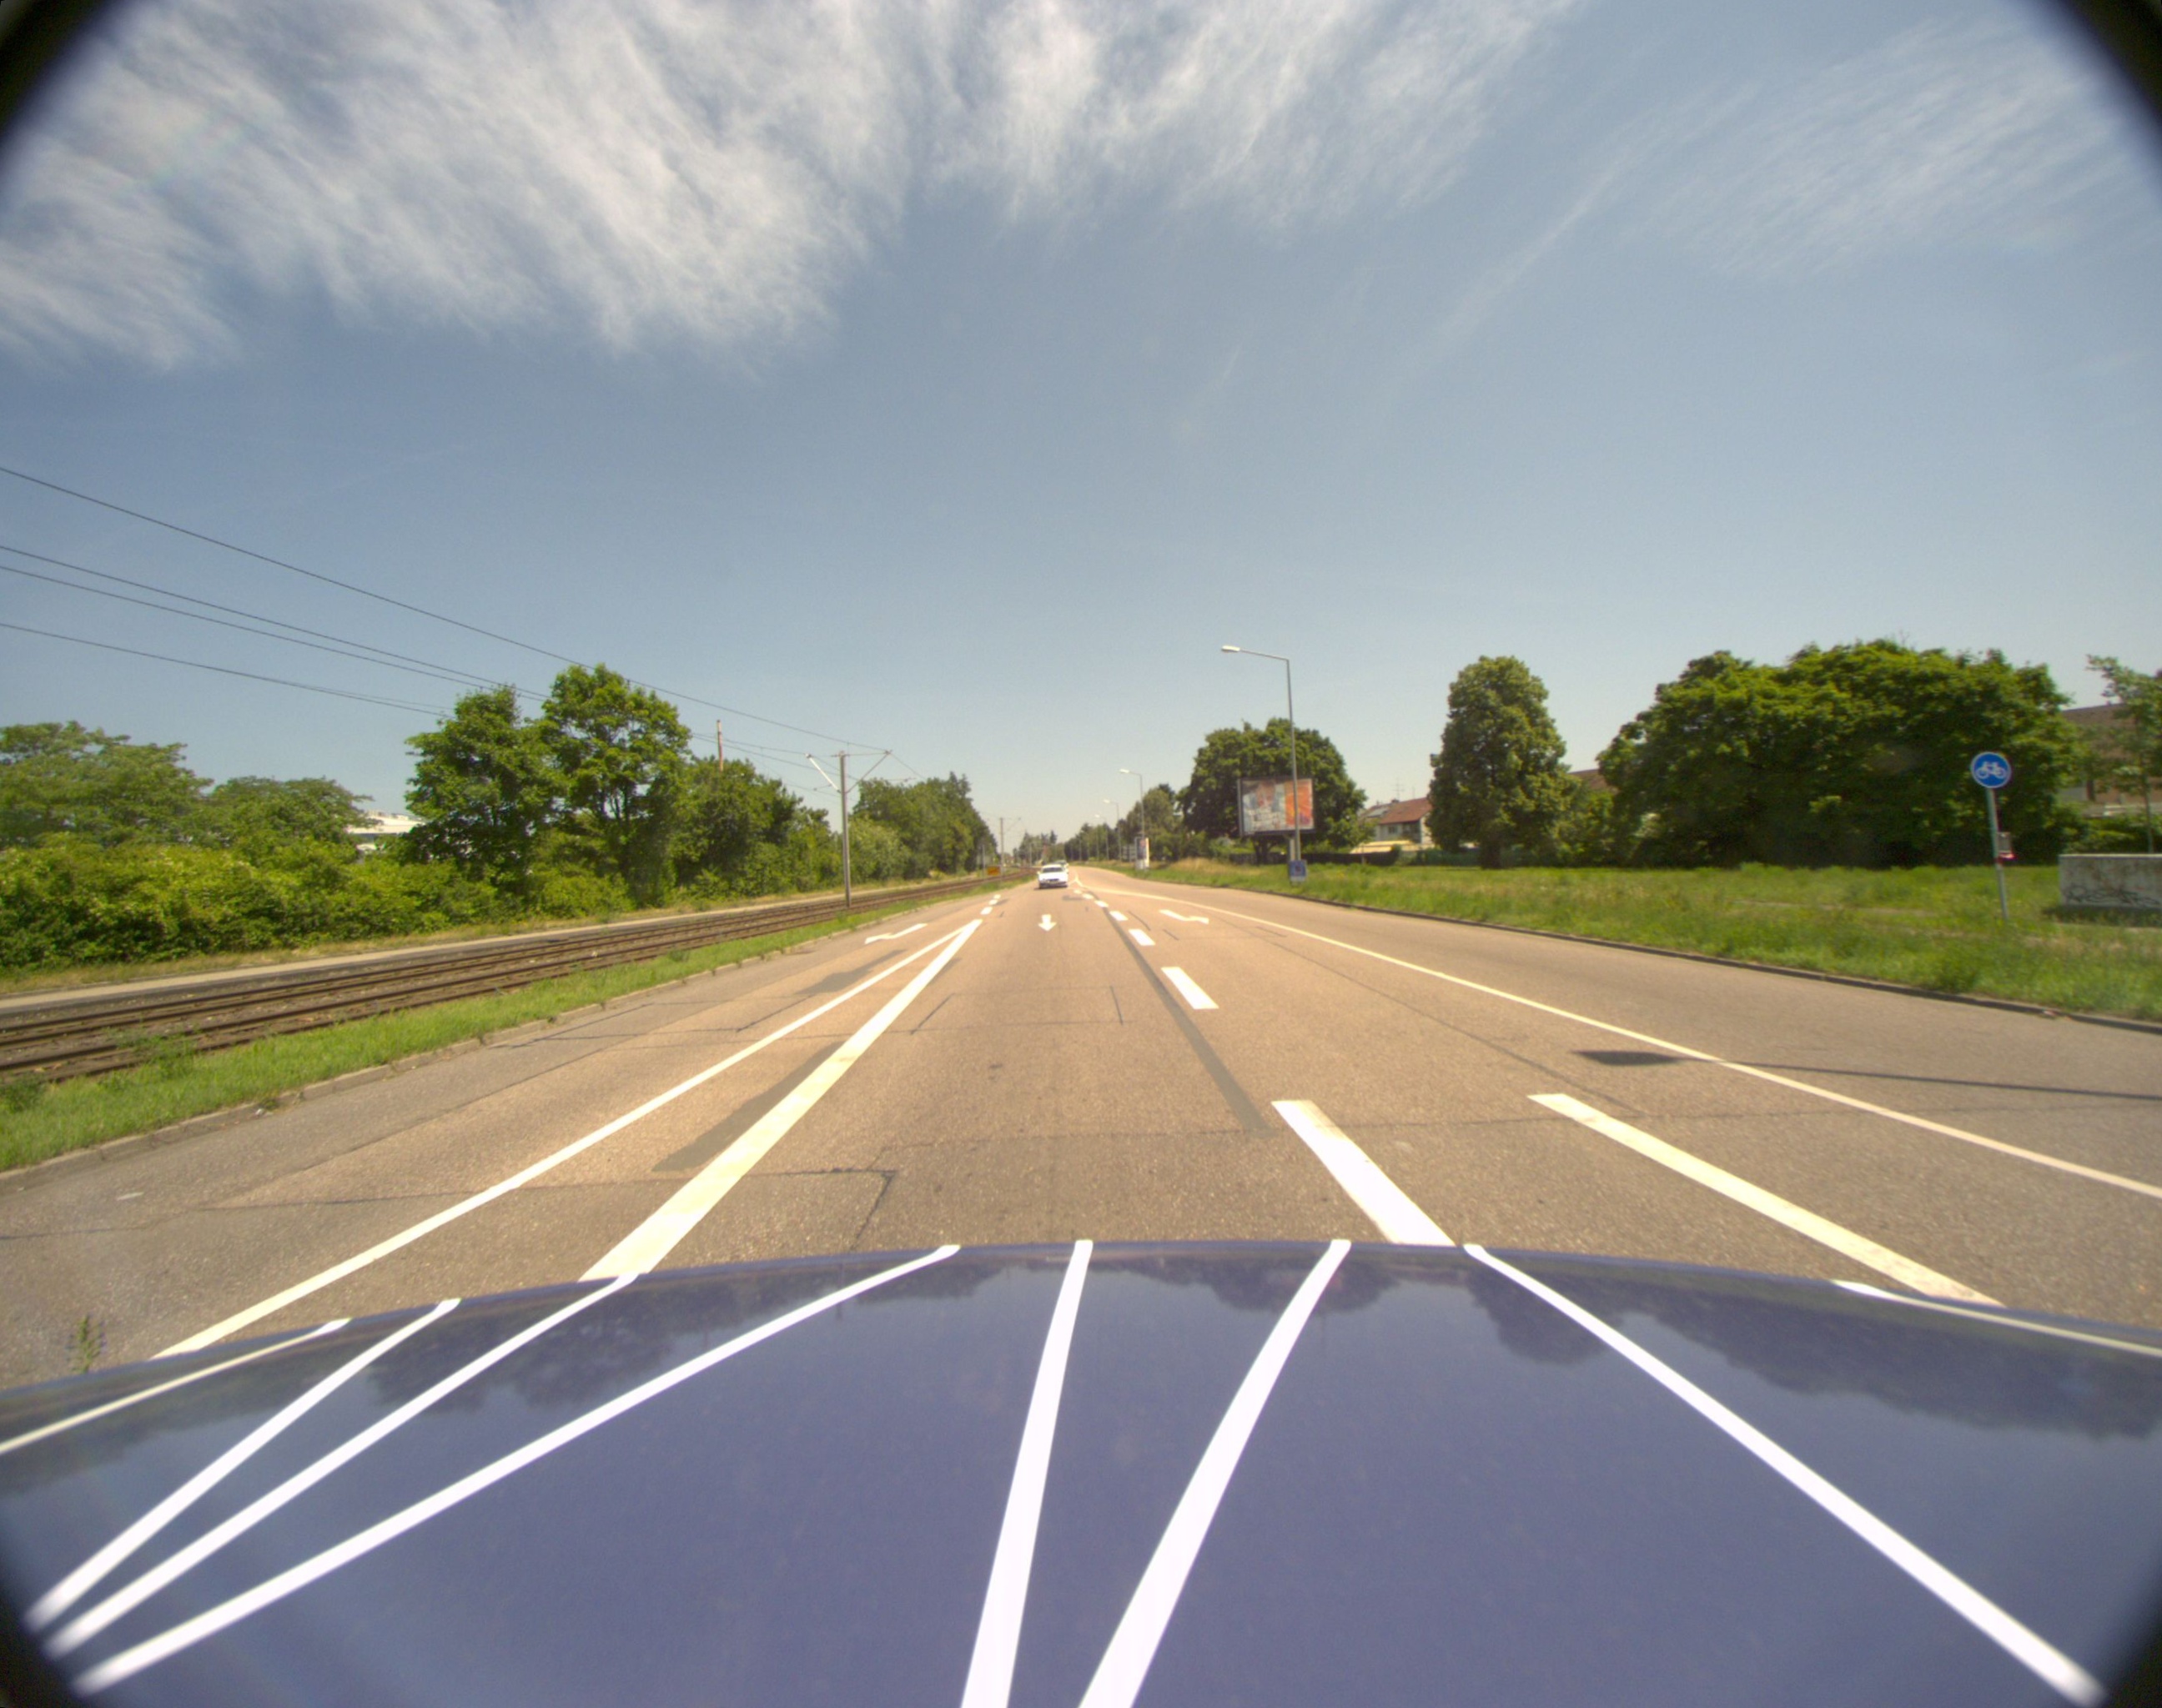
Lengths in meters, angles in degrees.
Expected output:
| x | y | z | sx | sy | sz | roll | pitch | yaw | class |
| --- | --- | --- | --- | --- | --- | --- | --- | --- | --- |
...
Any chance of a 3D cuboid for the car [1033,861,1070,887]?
| x | y | z | sx | sy | sz | roll | pitch | yaw | class |
| --- | --- | --- | --- | --- | --- | --- | --- | --- | --- |
| -1.811 | 1.242 | 48.087 | 1.954 | 1.467 | 4.362 | -3 | 0 | 2 | car |
